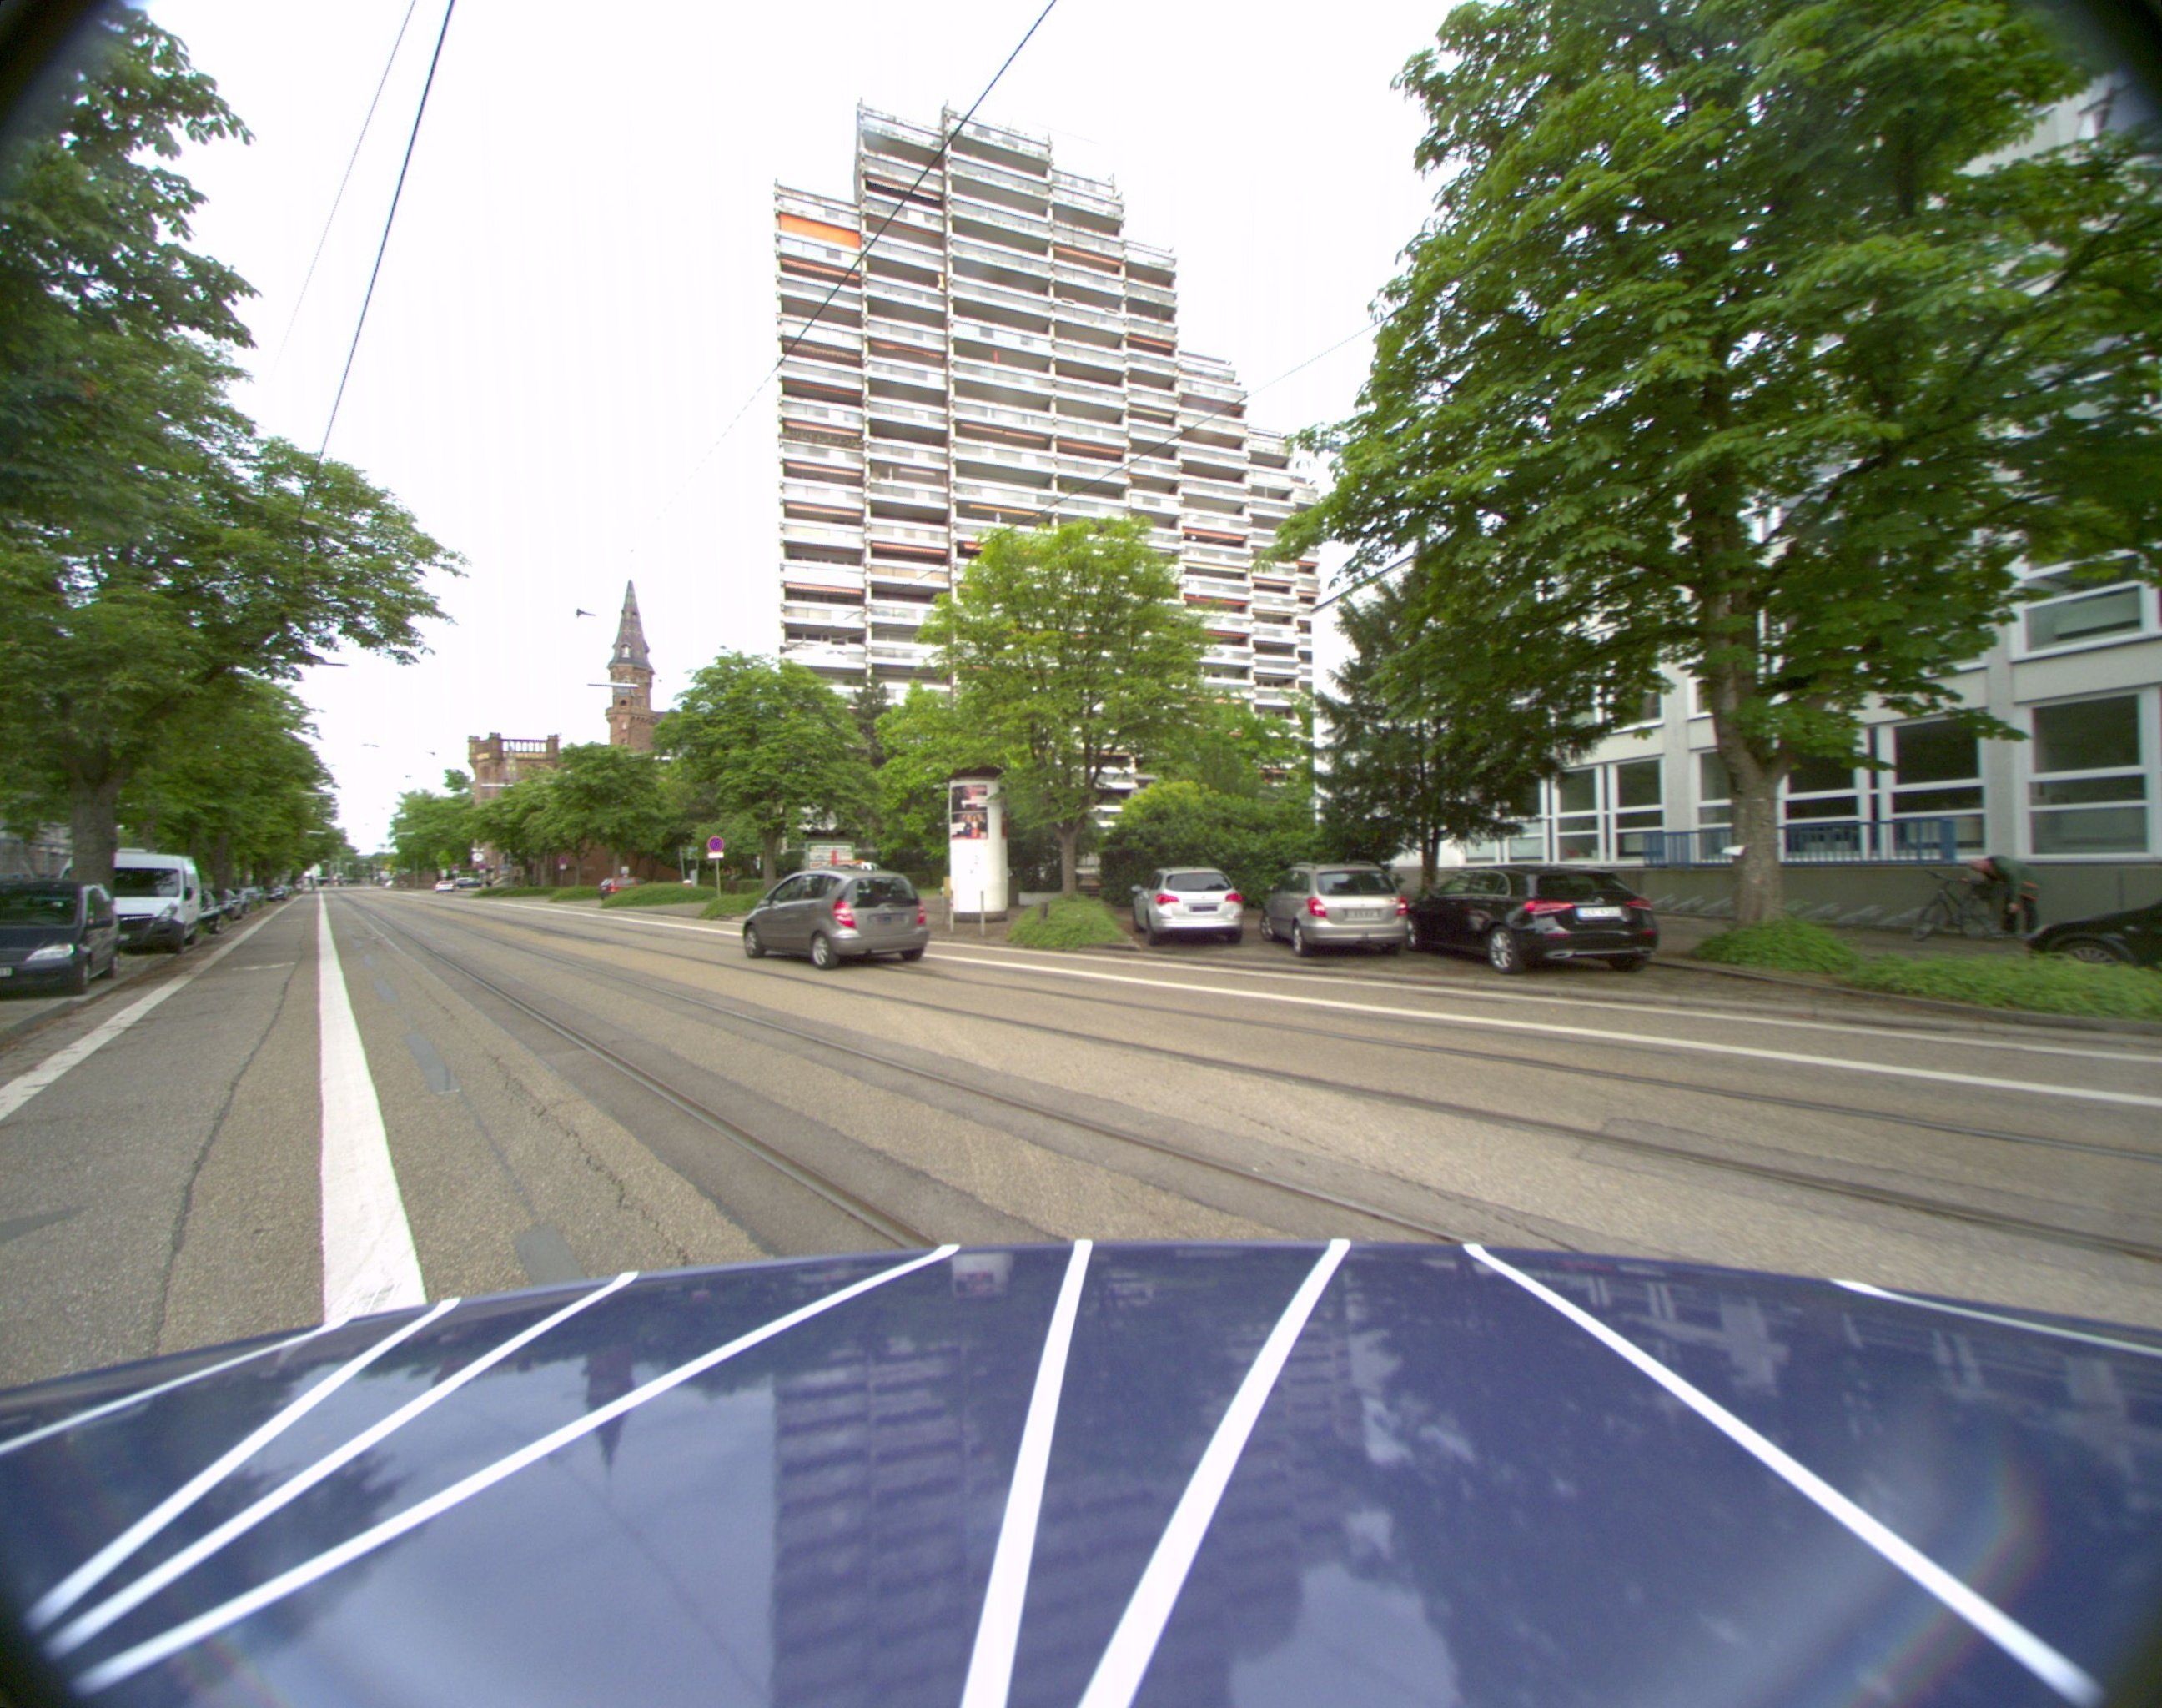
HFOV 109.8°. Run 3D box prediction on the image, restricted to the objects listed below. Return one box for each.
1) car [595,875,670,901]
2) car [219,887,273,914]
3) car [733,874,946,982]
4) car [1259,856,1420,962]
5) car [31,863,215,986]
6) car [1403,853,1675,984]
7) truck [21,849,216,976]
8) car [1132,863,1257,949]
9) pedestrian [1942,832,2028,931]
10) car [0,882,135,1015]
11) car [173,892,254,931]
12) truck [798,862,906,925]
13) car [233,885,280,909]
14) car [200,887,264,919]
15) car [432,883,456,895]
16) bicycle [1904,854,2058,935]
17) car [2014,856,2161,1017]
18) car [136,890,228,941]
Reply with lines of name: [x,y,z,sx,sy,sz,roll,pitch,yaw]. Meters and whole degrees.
car: [-27.075,2.024,45.972,1.630,1.369,3.510,-1,1,32]
car: [-51.694,2.837,47.112,4.381,1.452,2.004,-2,0,45]
car: [-4.201,1.135,12.933,3.744,1.521,1.911,-2,-1,44]
car: [4.301,0.830,13.208,1.571,1.515,3.651,-2,0,1]
car: [-23.482,1.583,18.881,2.124,2.587,5.477,-2,0,-45]
car: [6.243,0.770,10.915,1.698,1.515,3.706,-2,0,1]
truck: [-23.604,1.319,18.914,2.122,2.588,5.477,-7,4,-45]
car: [2.202,0.967,15.907,1.802,1.456,4.431,-1,0,-2]
pedestrian: [15.313,0.435,12.882,0.735,1.602,0.754,-2,2,-24]
car: [-16.530,1.358,11.908,4.073,1.801,1.663,-1,-2,45]
car: [-37.454,2.432,32.899,4.381,1.452,2.004,-2,0,45]
truck: [-7.567,1.225,25.700,1.998,1.837,5.065,-2,0,1]
car: [-57.290,2.954,52.865,4.381,1.452,2.004,-2,0,45]
car: [-45.148,2.564,40.476,4.381,1.452,2.004,-2,0,45]
car: [-80.338,4.396,95.798,3.989,1.521,2.004,-2,-1,45]
bicycle: [14.777,0.644,12.519,0.407,1.260,1.592,-1,-1,-35]
car: [11.344,0.806,6.700,1.698,1.515,3.706,-2,0,1]
car: [-29.817,1.989,25.297,4.094,1.491,1.831,-1,-2,42]
